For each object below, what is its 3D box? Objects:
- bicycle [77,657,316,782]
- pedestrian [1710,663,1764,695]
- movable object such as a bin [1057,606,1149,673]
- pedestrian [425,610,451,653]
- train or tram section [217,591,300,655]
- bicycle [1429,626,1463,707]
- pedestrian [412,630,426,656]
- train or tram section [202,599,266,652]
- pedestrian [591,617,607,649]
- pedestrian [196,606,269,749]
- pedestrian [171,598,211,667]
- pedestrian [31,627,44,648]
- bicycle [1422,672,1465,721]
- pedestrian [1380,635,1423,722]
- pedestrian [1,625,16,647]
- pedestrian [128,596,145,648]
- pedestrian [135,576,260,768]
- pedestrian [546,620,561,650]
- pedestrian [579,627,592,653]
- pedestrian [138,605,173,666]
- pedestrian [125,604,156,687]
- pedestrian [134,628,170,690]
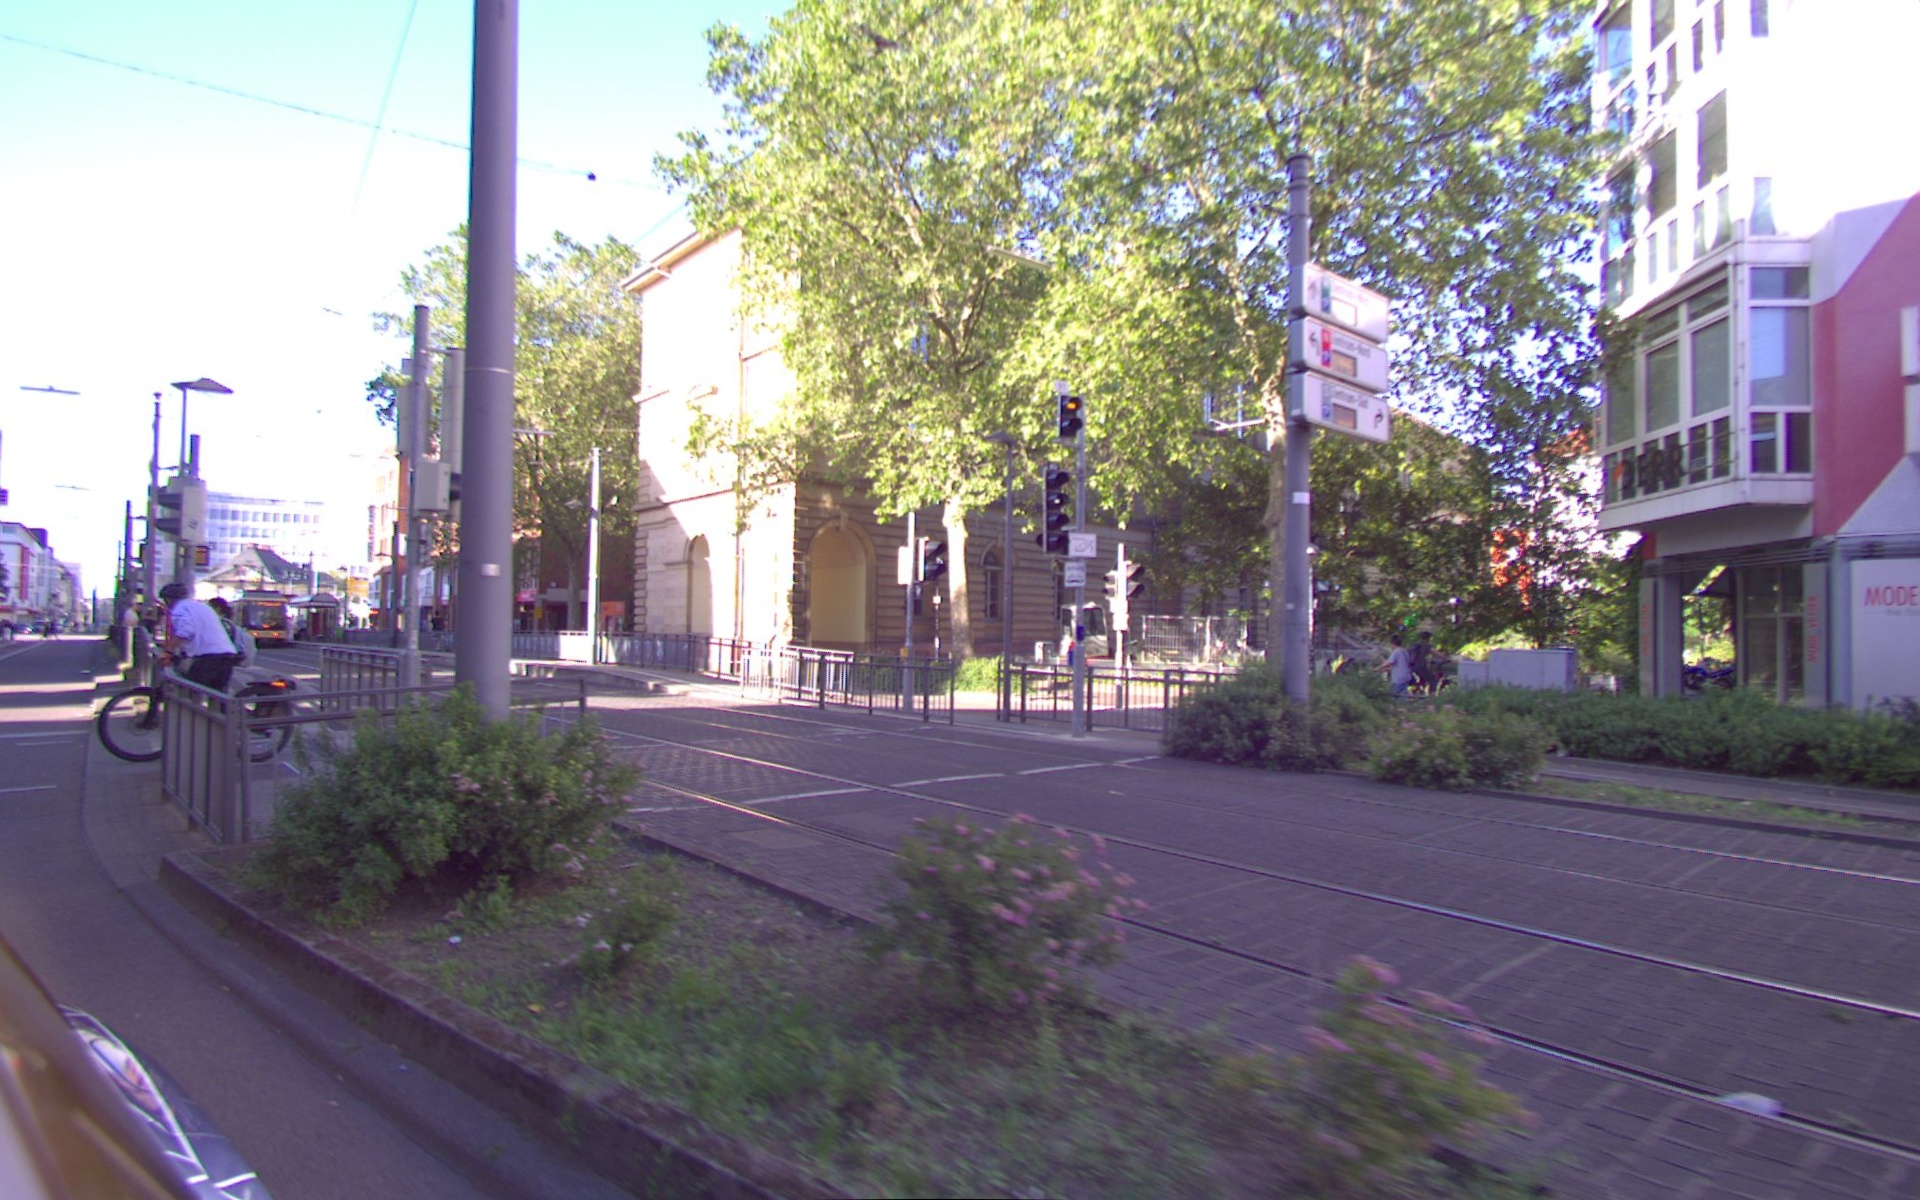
[{"bbox_3d":[-7.596,1.170,10.110,1.917,1.102,0.599,-3,-2,0],"label":"bicycle"},{"bbox_3d":[26.406,2.666,34.380,1.232,1.002,1.271,3,-3,-43],"label":"pedestrian"},{"bbox_3d":[4.470,1.242,31.656,2.605,2.029,1.178,1,-2,-17],"label":"movable object such as a bin"},{"bbox_3d":[-20.805,1.241,40.315,0.687,1.680,1.035,2,-3,-40],"label":"pedestrian"},{"bbox_3d":[-45.502,1.565,65.321,2.936,3.672,16.511,0,-2,-40],"label":"train or tram section"},{"bbox_3d":[10.690,1.448,22.266,0.582,1.729,0.640,-1,-3,33],"label":"bicycle"},{"bbox_3d":[-40.444,3.180,75.660,0.780,1.931,0.666,3,-3,-42],"label":"pedestrian"},{"bbox_3d":[-55.398,1.917,77.019,2.937,3.672,13.966,0,-1,-40],"label":"train or tram section"},{"bbox_3d":[-21.353,1.963,59.838,0.697,1.896,0.627,2,-3,-37],"label":"pedestrian"},{"bbox_3d":[-8.543,0.885,11.877,0.667,1.602,0.512,-2,0,40],"label":"pedestrian"},{"bbox_3d":[-19.675,0.834,25.902,0.753,1.748,0.591,2,-3,-34],"label":"pedestrian"},{"bbox_3d":[-73.255,2.990,80.333,0.698,1.626,0.496,2,-3,-41],"label":"pedestrian"},{"bbox_3d":[10.546,2.077,22.053,0.645,0.974,2.147,-1,-4,31],"label":"bicycle"},{"bbox_3d":[8.535,1.501,19.594,0.670,1.649,0.687,0,-2,17],"label":"pedestrian"},{"bbox_3d":[-68.036,2.586,72.368,0.789,1.532,0.658,-1,-5,43],"label":"pedestrian"},{"bbox_3d":[-26.563,0.718,32.635,0.347,1.682,0.530,2,-3,-42],"label":"pedestrian"},{"bbox_3d":[-7.655,0.694,10.200,0.586,1.835,0.942,-1,-1,-3],"label":"pedestrian"},{"bbox_3d":[-25.303,2.183,62.944,0.678,1.820,0.649,2,-3,-39],"label":"pedestrian"},{"bbox_3d":[-22.024,2.347,59.468,0.576,1.541,0.475,2,-2,-40],"label":"pedestrian"},{"bbox_3d":[-24.669,1.064,31.037,0.761,1.845,0.804,0,-1,-44],"label":"pedestrian"},{"bbox_3d":[-21.658,1.197,26.741,0.531,2.136,0.809,2,-3,-41],"label":"pedestrian"},{"bbox_3d":[-17.596,1.274,22.047,0.473,1.339,0.355,1,-2,-11],"label":"pedestrian"}]
